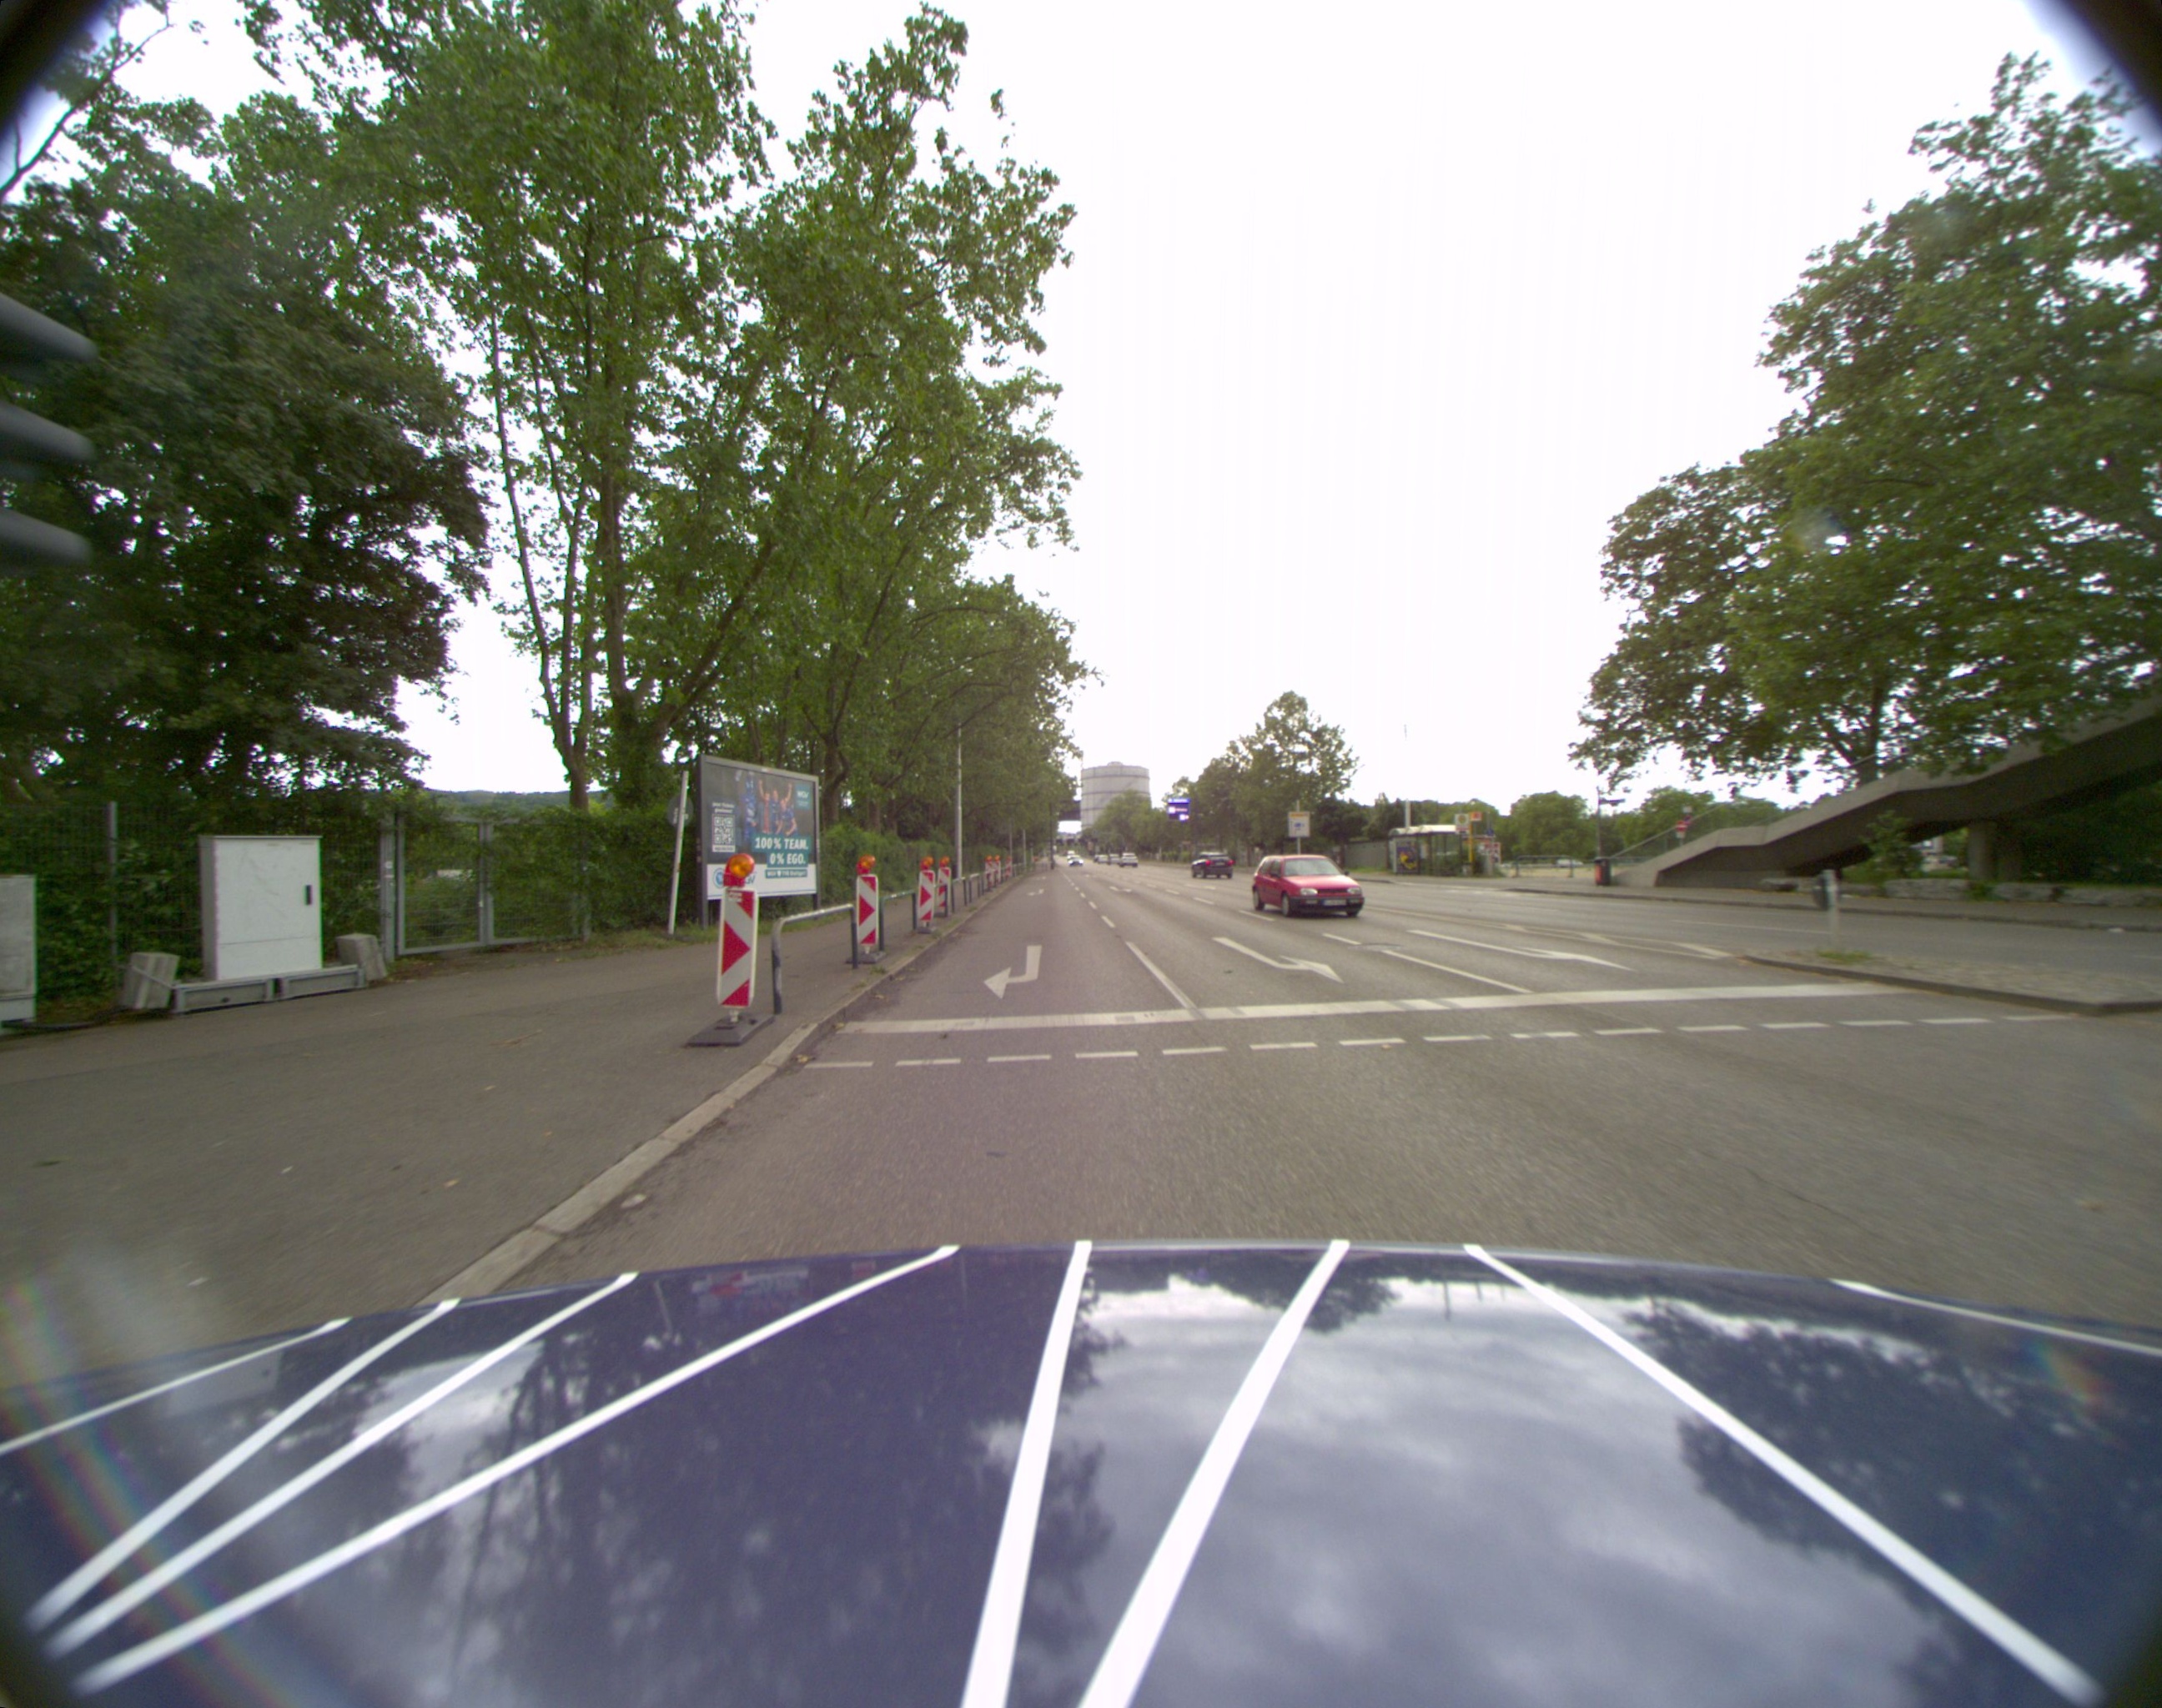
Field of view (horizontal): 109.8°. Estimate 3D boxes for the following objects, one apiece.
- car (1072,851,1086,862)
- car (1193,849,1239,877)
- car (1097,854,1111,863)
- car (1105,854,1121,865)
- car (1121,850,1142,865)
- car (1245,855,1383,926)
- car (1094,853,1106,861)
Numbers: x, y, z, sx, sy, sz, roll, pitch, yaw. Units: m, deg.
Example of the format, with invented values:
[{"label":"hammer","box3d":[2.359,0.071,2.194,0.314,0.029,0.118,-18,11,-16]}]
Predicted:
[{"label":"car","box3d":[-0.308,0.334,108.329,1.799,1.501,3.999,-1,0,-2]},{"label":"car","box3d":[8.269,0.537,46.980,1.774,1.596,4.426,-1,0,-4]},{"label":"car","box3d":[3.978,0.733,130.623,1.999,1.521,4.384,-1,0,-2]},{"label":"car","box3d":[4.754,0.794,113.701,1.999,1.516,3.998,0,0,-4]},{"label":"car","box3d":[6.025,0.472,91.828,1.999,1.734,4.594,-1,0,-3]},{"label":"car","box3d":[5.440,0.784,18.313,1.834,1.443,4.075,-2,0,-4]},{"label":"car","box3d":[3.841,0.555,154.155,1.999,1.521,4.724,0,0,-3]}]
